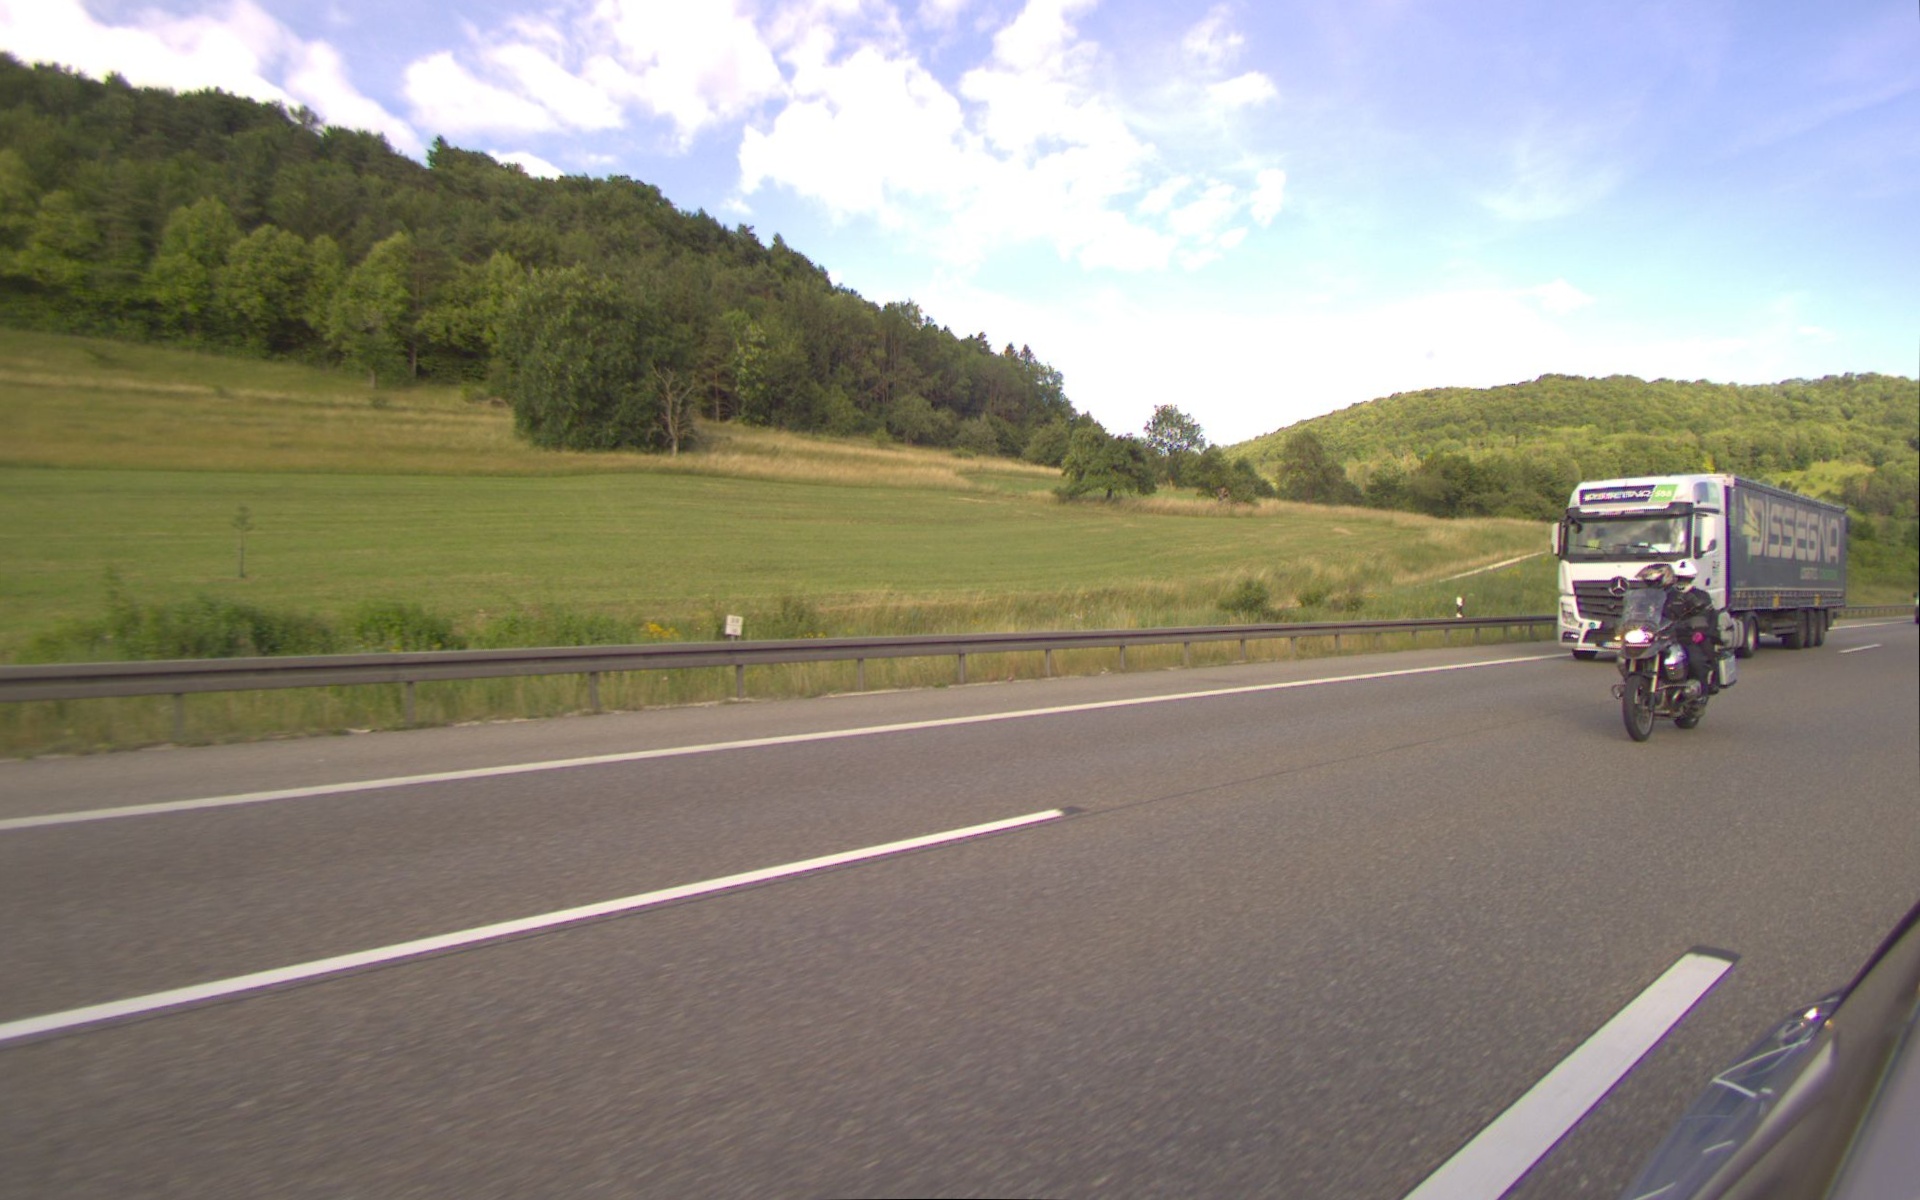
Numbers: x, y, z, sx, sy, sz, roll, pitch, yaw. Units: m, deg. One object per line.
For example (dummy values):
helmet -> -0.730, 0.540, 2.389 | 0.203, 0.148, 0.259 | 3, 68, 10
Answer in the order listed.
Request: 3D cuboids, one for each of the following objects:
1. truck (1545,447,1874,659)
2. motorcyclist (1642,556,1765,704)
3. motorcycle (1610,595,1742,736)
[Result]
truck -> 20.067, -0.950, 26.118 | 17.419, 4.042, 2.970 | 0, 1, -40
motorcyclist -> 8.153, 0.306, 11.103 | 0.782, 1.534, 0.879 | 0, 0, -35
motorcycle -> 7.510, 0.632, 10.597 | 1.706, 1.356, 0.629 | 0, 0, -37
